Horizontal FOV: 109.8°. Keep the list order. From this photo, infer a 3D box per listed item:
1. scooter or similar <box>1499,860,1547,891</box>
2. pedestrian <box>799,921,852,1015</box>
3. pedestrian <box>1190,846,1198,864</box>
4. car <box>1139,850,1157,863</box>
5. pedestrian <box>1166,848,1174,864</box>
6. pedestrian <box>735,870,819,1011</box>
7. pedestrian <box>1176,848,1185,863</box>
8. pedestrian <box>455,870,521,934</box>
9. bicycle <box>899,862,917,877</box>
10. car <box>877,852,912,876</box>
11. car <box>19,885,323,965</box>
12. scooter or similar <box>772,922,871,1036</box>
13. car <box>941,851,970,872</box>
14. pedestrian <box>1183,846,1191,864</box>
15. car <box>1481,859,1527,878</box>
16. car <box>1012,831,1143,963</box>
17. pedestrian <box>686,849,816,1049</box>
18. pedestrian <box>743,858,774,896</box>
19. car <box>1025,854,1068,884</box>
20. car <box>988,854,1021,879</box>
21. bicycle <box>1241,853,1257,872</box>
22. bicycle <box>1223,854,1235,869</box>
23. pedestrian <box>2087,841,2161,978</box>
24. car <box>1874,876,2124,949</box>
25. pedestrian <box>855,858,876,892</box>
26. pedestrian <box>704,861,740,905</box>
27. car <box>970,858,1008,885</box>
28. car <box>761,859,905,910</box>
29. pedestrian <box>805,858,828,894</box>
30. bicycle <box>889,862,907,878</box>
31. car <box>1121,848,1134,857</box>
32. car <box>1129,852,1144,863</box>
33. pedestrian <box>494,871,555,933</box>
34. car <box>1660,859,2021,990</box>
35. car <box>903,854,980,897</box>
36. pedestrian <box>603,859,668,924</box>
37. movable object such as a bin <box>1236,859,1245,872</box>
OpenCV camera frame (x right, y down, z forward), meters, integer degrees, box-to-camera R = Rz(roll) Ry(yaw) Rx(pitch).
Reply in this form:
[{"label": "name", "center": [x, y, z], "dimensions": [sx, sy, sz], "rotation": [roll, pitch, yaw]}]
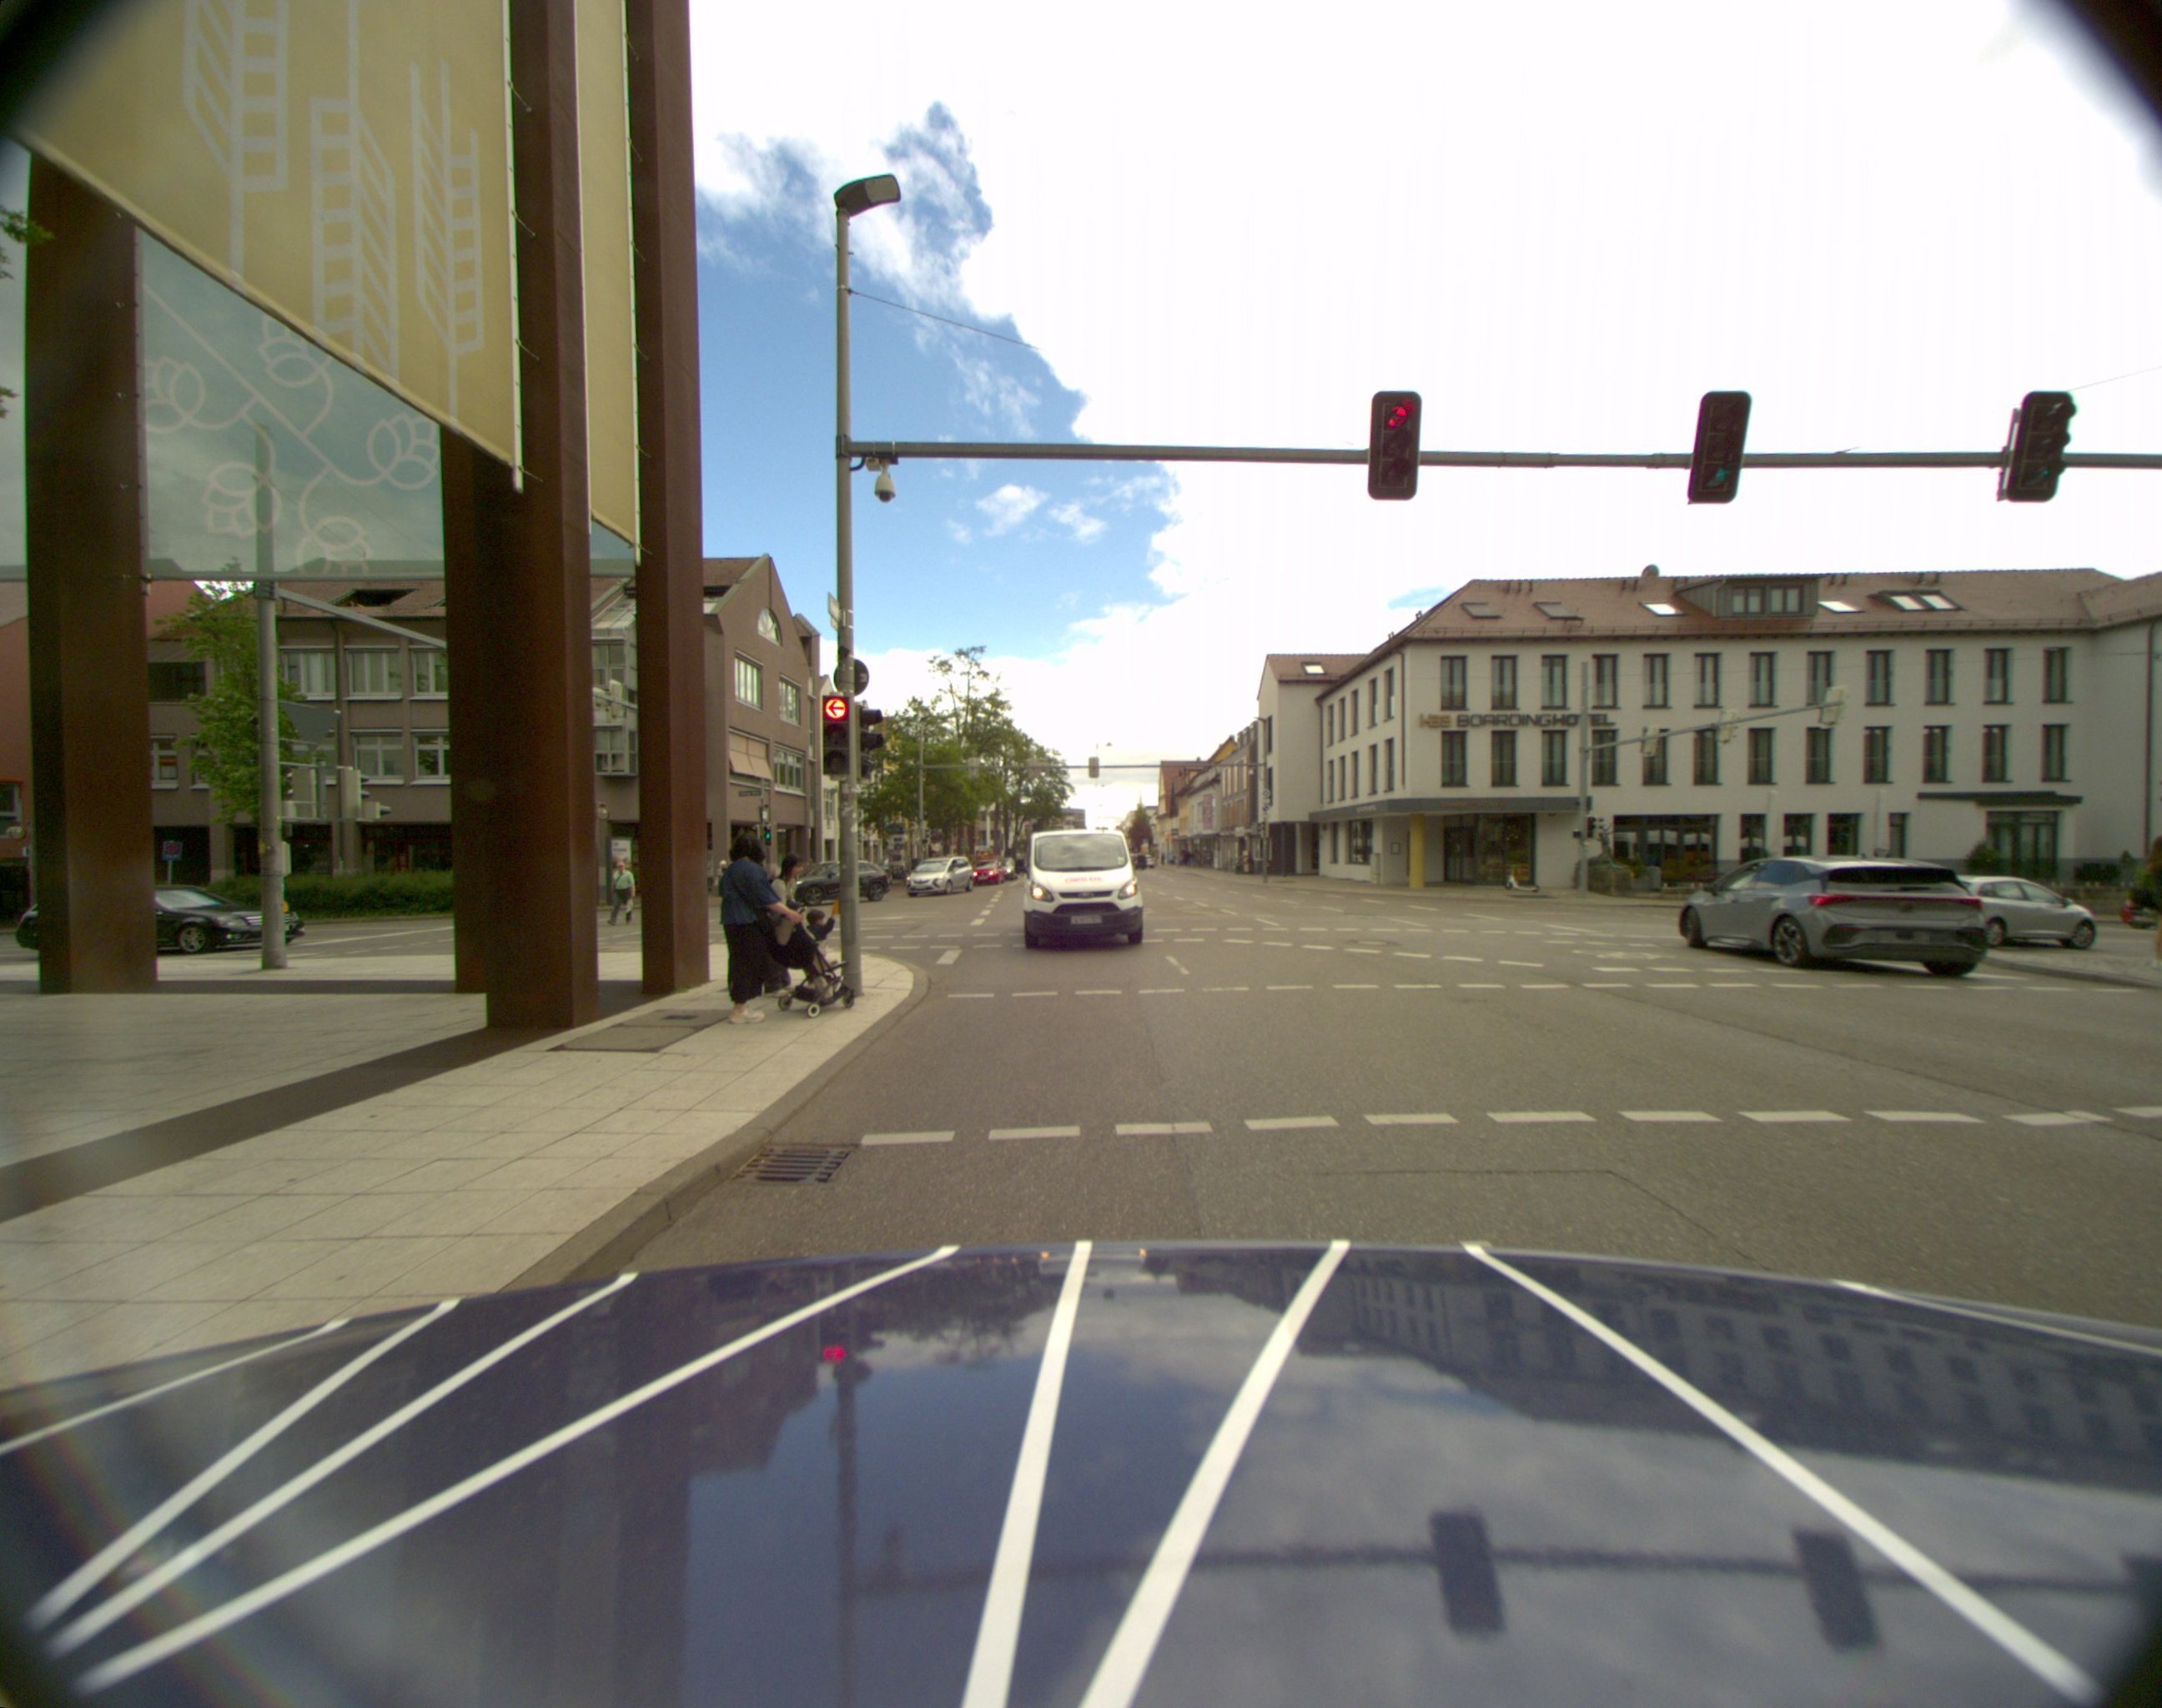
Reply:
[{"label": "scooter or similar", "center": [17.832, 0.866, 30.688], "dimensions": [0.427, 1.152, 1.569], "rotation": [-1, 3, -40]}, {"label": "pedestrian", "center": [-2.682, 1.190, 8.000], "dimensions": [0.362, 0.918, 0.454], "rotation": [-1, 1, 4]}, {"label": "pedestrian", "center": [11.471, 0.115, 76.909], "dimensions": [0.708, 1.771, 0.870], "rotation": [-1, 1, 3]}, {"label": "car", "center": [7.377, 0.293, 84.307], "dimensions": [1.748, 1.450, 4.235], "rotation": [0, 0, 1]}, {"label": "pedestrian", "center": [9.218, 0.161, 78.671], "dimensions": [0.812, 1.651, 0.920], "rotation": [-1, 1, 2]}, {"label": "pedestrian", "center": [-3.179, 0.882, 7.989], "dimensions": [0.602, 1.412, 0.582], "rotation": [-1, 1, 4]}, {"label": "pedestrian", "center": [10.291, 0.132, 78.687], "dimensions": [0.812, 1.574, 0.920], "rotation": [-1, 1, 2]}, {"label": "pedestrian", "center": [-15.388, 1.228, 19.751], "dimensions": [0.832, 1.575, 1.059], "rotation": [-1, 1, 1]}, {"label": "bicycle", "center": [-12.204, 1.094, 53.593], "dimensions": [1.565, 1.042, 0.407], "rotation": [0, 1, 43]}, {"label": "car", "center": [-14.734, 0.770, 60.152], "dimensions": [1.739, 1.793, 4.260], "rotation": [0, 0, -1]}, {"label": "car", "center": [-19.271, 1.467, 16.249], "dimensions": [4.183, 1.396, 1.800], "rotation": [-2, 0, -1]}, {"label": "scooter or similar", "center": [-2.487, 1.166, 7.292], "dimensions": [0.633, 0.956, 0.622], "rotation": [0, 1, 35]}, {"label": "car", "center": [-11.771, 0.688, 71.621], "dimensions": [1.999, 1.865, 4.752], "rotation": [0, 1, -1]}, {"label": "pedestrian", "center": [10.696, 0.106, 76.936], "dimensions": [0.708, 1.828, 1.028], "rotation": [-1, 1, 3]}, {"label": "car", "center": [27.688, 0.918, 49.861], "dimensions": [1.397, 1.173, 3.353], "rotation": [1, 1, 6]}, {"label": "car", "center": [0.013, 0.648, 14.627], "dimensions": [1.940, 1.968, 5.780], "rotation": [-3, 0, 1]}, {"label": "pedestrian", "center": [-2.932, 0.784, 6.759], "dimensions": [0.870, 1.637, 0.681], "rotation": [-1, 1, 36]}, {"label": "pedestrian", "center": [-13.930, 0.966, 32.888], "dimensions": [0.823, 1.586, 1.039], "rotation": [-1, 1, 3]}, {"label": "car", "center": [-1.796, 0.766, 41.093], "dimensions": [1.998, 1.490, 4.000], "rotation": [-1, 0, 2]}, {"label": "car", "center": [-5.173, 0.822, 51.984], "dimensions": [1.801, 1.521, 3.999], "rotation": [-3, 0, 0]}, {"label": "bicycle", "center": [11.372, 0.580, 51.405], "dimensions": [0.583, 1.225, 2.119], "rotation": [-1, 0, 0]}, {"label": "bicycle", "center": [11.285, 0.539, 58.105], "dimensions": [0.573, 1.094, 1.902], "rotation": [-1, 0, 2]}, {"label": "pedestrian", "center": [13.754, 0.690, 9.707], "dimensions": [0.811, 1.703, 0.703], "rotation": [-1, 0, 13]}, {"label": "car", "center": [19.417, 1.213, 16.122], "dimensions": [4.200, 1.409, 1.638], "rotation": [1, -1, -13]}, {"label": "pedestrian", "center": [-10.302, 0.991, 36.276], "dimensions": [0.743, 1.617, 0.953], "rotation": [0, 1, -2]}, {"label": "pedestrian", "center": [-13.626, 1.089, 28.841], "dimensions": [0.810, 1.617, 1.093], "rotation": [-1, 1, -1]}, {"label": "car", "center": [-5.372, 0.998, 44.851], "dimensions": [1.630, 1.440, 3.642], "rotation": [-3, 0, 1]}, {"label": "car", "center": [-9.262, 1.091, 28.725], "dimensions": [1.852, 1.600, 4.871], "rotation": [-2, 0, 39]}, {"label": "pedestrian", "center": [-12.438, 1.025, 35.722], "dimensions": [0.743, 1.617, 0.953], "rotation": [0, 1, -2]}, {"label": "bicycle", "center": [-12.862, 1.126, 53.390], "dimensions": [1.565, 1.042, 0.407], "rotation": [0, 1, 43]}, {"label": "car", "center": [7.149, -0.239, 116.961], "dimensions": [1.873, 1.477, 4.000], "rotation": [-1, 0, 1]}, {"label": "car", "center": [7.357, 0.510, 101.449], "dimensions": [1.748, 1.450, 3.818], "rotation": [0, 0, 1]}, {"label": "pedestrian", "center": [-14.466, 1.231, 19.774], "dimensions": [0.832, 1.549, 0.969], "rotation": [-1, 1, 0]}, {"label": "car", "center": [10.635, 0.841, 11.203], "dimensions": [1.761, 1.508, 4.392], "rotation": [1, 0, 14]}, {"label": "car", "center": [-6.124, 0.893, 33.954], "dimensions": [1.742, 1.691, 4.384], "rotation": [-3, 0, 12]}, {"label": "pedestrian", "center": [-12.239, 1.003, 20.914], "dimensions": [1.058, 1.705, 1.110], "rotation": [-1, 1, 0]}, {"label": "movable object such as a bin", "center": [11.334, 0.823, 54.018], "dimensions": [0.552, 0.894, 0.507], "rotation": [-1, 1, 0]}]
